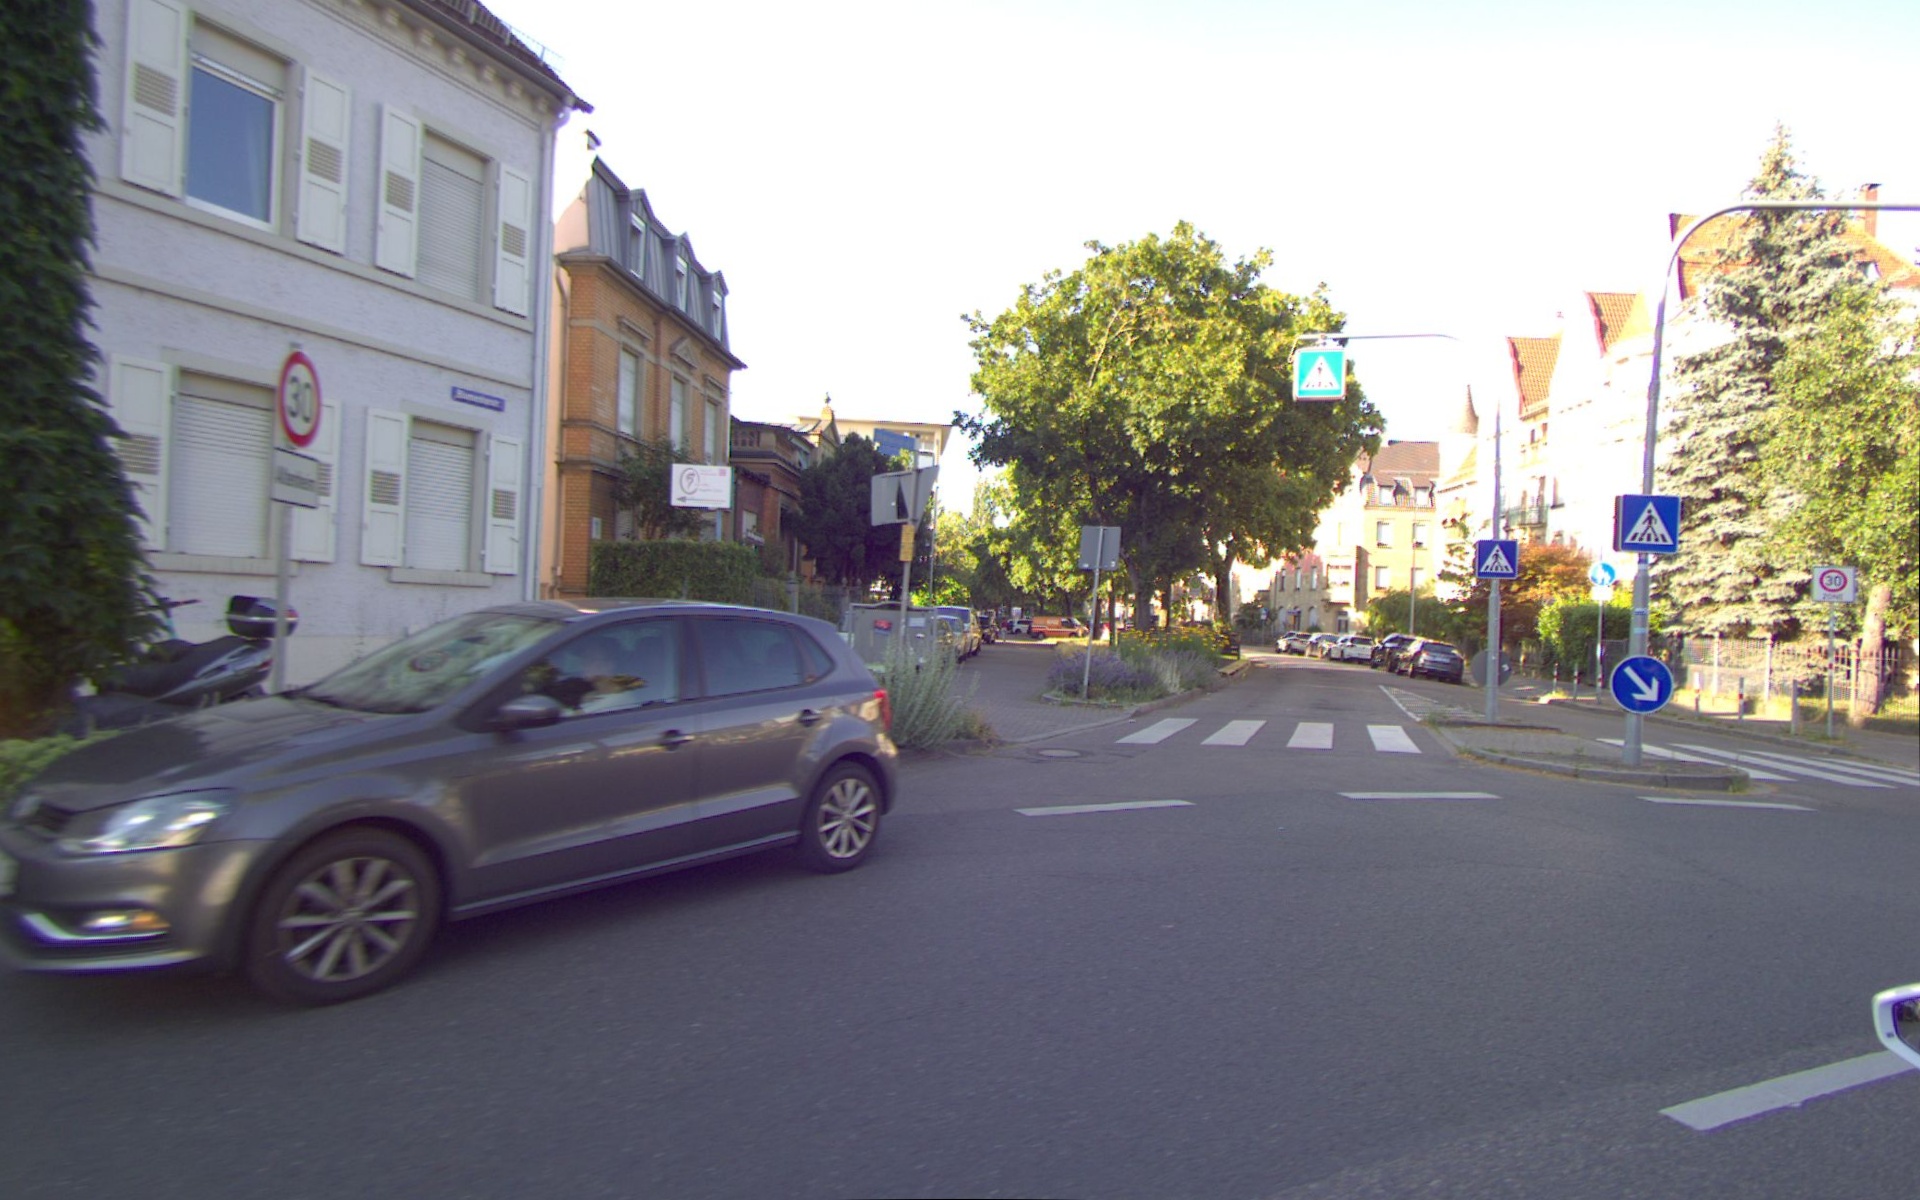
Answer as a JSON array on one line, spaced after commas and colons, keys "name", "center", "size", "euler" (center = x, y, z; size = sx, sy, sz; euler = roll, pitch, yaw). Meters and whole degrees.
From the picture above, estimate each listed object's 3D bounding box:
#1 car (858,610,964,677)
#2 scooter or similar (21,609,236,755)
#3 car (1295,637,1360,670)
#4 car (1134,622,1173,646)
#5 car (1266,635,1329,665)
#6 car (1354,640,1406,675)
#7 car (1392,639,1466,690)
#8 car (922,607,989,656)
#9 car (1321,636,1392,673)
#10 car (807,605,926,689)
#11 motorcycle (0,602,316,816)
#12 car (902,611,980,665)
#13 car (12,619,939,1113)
[{"name": "car", "center": [-1.219, 1.111, 26.860], "size": [1.902, 1.557, 4.141], "euler": [3, -1, 10]}, {"name": "scooter or similar", "center": [-7.802, 0.730, 9.516], "size": [0.499, 1.245, 1.542], "euler": [3, 0, 12]}, {"name": "car", "center": [21.124, 3.048, 57.963], "size": [2.300, 1.617, 4.932], "euler": [3, -1, 6]}, {"name": "car", "center": [18.544, 3.232, 96.661], "size": [2.304, 2.067, 4.925], "euler": [3, -1, -6]}, {"name": "car", "center": [21.355, 3.124, 63.832], "size": [2.301, 1.617, 4.930], "euler": [3, -1, 1]}, {"name": "car", "center": [17.509, 2.359, 42.003], "size": [1.629, 1.253, 3.798], "euler": [3, -1, 18]}, {"name": "car", "center": [17.190, 2.309, 37.000], "size": [1.960, 1.617, 4.001], "euler": [3, -1, 18]}, {"name": "car", "center": [-0.110, 1.180, 38.604], "size": [1.902, 1.685, 4.512], "euler": [3, -1, 7]}, {"name": "car", "center": [20.641, 2.796, 52.519], "size": [2.300, 1.617, 4.933], "euler": [3, -1, 9]}, {"name": "car", "center": [-1.930, 0.965, 21.903], "size": [1.777, 1.557, 3.912], "euler": [3, -1, 6]}, {"name": "motorcycle", "center": [-6.462, 0.739, 7.668], "size": [0.915, 1.375, 2.565], "euler": [3, -1, 17]}, {"name": "car", "center": [-0.552, 1.215, 33.057], "size": [1.902, 1.557, 4.141], "euler": [3, -1, 7]}, {"name": "car", "center": [-1.920, 0.825, 4.906], "size": [1.691, 1.422, 3.723], "euler": [-1, -2, 38]}]
